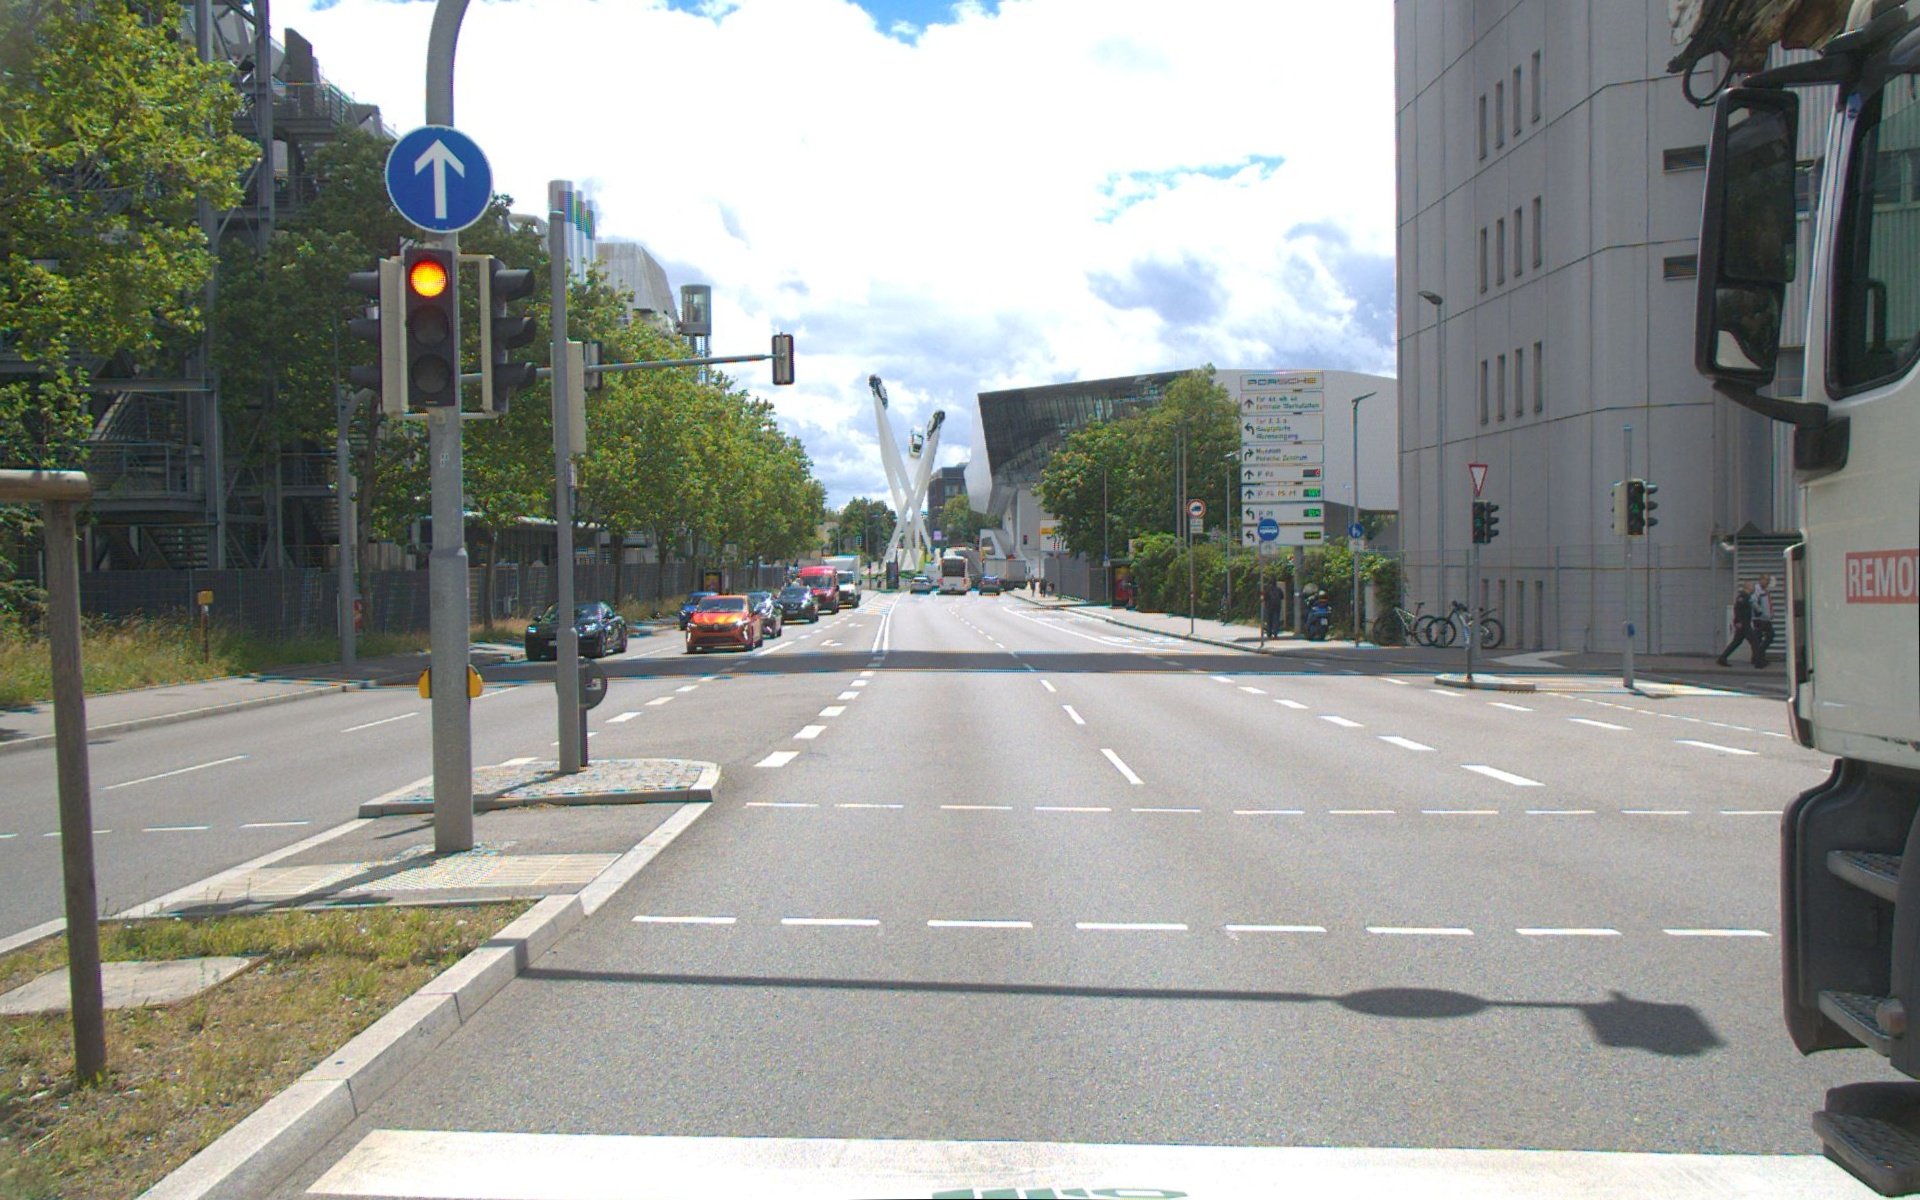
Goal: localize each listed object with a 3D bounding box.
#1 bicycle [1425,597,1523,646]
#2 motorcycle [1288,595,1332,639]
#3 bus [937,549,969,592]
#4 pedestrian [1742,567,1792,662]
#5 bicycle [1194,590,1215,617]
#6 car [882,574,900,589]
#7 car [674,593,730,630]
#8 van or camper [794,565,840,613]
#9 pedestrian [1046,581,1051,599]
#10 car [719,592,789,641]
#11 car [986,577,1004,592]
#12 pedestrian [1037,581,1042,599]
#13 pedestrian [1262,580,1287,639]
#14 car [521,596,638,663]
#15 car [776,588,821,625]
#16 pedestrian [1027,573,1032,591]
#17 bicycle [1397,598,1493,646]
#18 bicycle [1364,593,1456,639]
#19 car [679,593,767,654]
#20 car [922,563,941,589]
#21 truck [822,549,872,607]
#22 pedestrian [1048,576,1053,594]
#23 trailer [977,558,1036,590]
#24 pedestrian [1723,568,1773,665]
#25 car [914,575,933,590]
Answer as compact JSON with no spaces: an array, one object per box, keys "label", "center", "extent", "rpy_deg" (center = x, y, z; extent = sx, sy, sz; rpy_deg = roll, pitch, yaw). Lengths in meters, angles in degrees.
[{"label":"bicycle","center":[12.073,0.507,38.855],"extent":[2.149,1.105,0.475],"rpy_deg":[1,-1,35]},{"label":"motorcycle","center":[9.543,0.451,45.164],"extent":[0.410,1.186,1.951],"rpy_deg":[1,0,-11]},{"label":"bus","center":[-0.607,-2.645,150.138],"extent":[2.730,3.750,6.942],"rpy_deg":[1,0,0]},{"label":"pedestrian","center":[16.027,0.281,32.857],"extent":[0.695,1.825,0.694],"rpy_deg":[-2,1,15]},{"label":"bicycle","center":[9.663,0.155,65.411],"extent":[0.410,1.040,1.910],"rpy_deg":[1,0,-5]},{"label":"car","center":[-6.467,-1.732,155.759],"extent":[1.525,1.295,3.701],"rpy_deg":[-2,0,0]},{"label":"car","center":[-10.601,0.443,68.188],"extent":[1.692,1.406,3.701],"rpy_deg":[-2,0,0]},{"label":"van or camper","center":[-7.585,-0.596,88.192],"extent":[2.005,2.509,5.594],"rpy_deg":[0,0,0]},{"label":"pedestrian","center":[7.007,-0.804,131.379],"extent":[0.378,1.446,0.423],"rpy_deg":[1,-1,0]},{"label":"car","center":[-6.630,0.519,53.563],"extent":[1.733,1.445,3.701],"rpy_deg":[-2,0,0]},{"label":"car","center":[3.115,-1.355,146.194],"extent":[1.525,1.295,3.701],"rpy_deg":[-2,0,1]},{"label":"pedestrian","center":[6.310,-0.788,131.316],"extent":[0.378,1.446,0.423],"rpy_deg":[1,-1,0]},{"label":"pedestrian","center":[8.922,0.271,46.959],"extent":[0.523,1.669,0.657],"rpy_deg":[1,-1,-6]},{"label":"car","center":[-9.761,0.715,42.785],"extent":[1.878,1.514,4.772],"rpy_deg":[-2,0,0]},{"label":"car","center":[-7.020,0.269,72.052],"extent":[1.525,1.473,3.772],"rpy_deg":[-2,0,0]},{"label":"pedestrian","center":[5.661,-1.480,134.892],"extent":[0.378,1.446,0.423],"rpy_deg":[1,-1,0]},{"label":"bicycle","center":[11.634,0.527,39.710],"extent":[2.180,1.105,0.475],"rpy_deg":[1,-1,35]},{"label":"bicycle","center":[11.148,0.385,41.035],"extent":[2.180,1.105,0.475],"rpy_deg":[1,-1,35]},{"label":"car","center":[-6.198,0.586,43.634],"extent":[1.733,1.445,3.701],"rpy_deg":[-2,0,0]},{"label":"car","center":[-2.945,-2.461,171.009],"extent":[1.806,2.669,3.999],"rpy_deg":[1,0,0]},{"label":"truck","center":[-6.873,-1.299,101.579],"extent":[2.538,3.382,7.078],"rpy_deg":[1,0,0]},{"label":"pedestrian","center":[7.340,-1.236,134.492],"extent":[0.378,1.446,0.423],"rpy_deg":[1,-1,0]},{"label":"trailer","center":[4.928,-2.638,172.260],"extent":[3.250,3.047,10.380],"rpy_deg":[1,0,18]},{"label":"pedestrian","center":[15.340,0.314,32.222],"extent":[0.694,1.825,0.643],"rpy_deg":[-3,1,14]},{"label":"car","center":[-3.278,-1.583,148.681],"extent":[1.525,1.295,3.701],"rpy_deg":[-2,0,1]}]
